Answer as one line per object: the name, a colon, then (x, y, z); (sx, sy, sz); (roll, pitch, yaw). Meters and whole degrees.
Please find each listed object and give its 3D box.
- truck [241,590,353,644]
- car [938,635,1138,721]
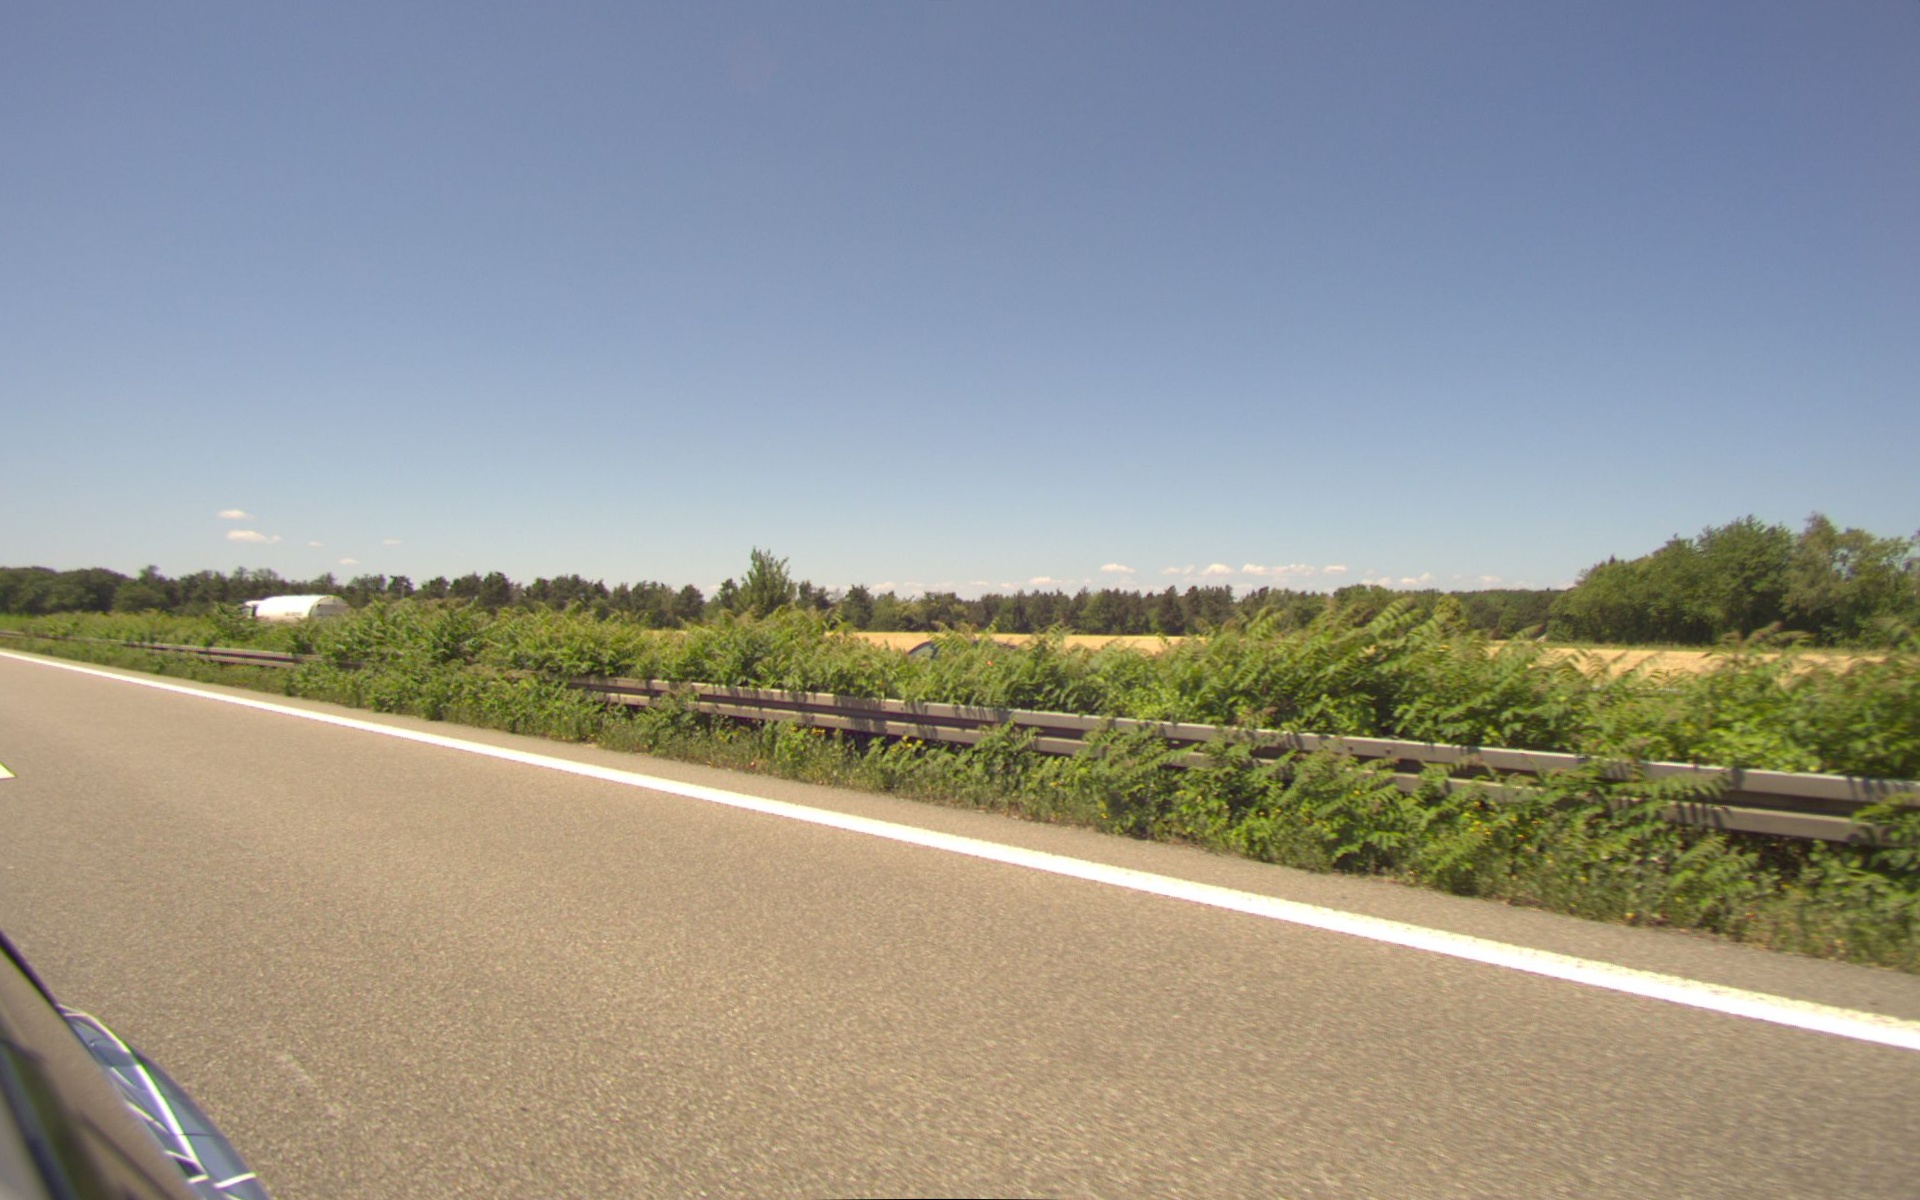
truck: (-41.943, 1.036, 63.732); (13.115, 3.147, 2.542); (-1, 0, 41)
car: (1.487, 1.459, 20.012); (3.686, 1.431, 1.662); (-1, 0, 41)
